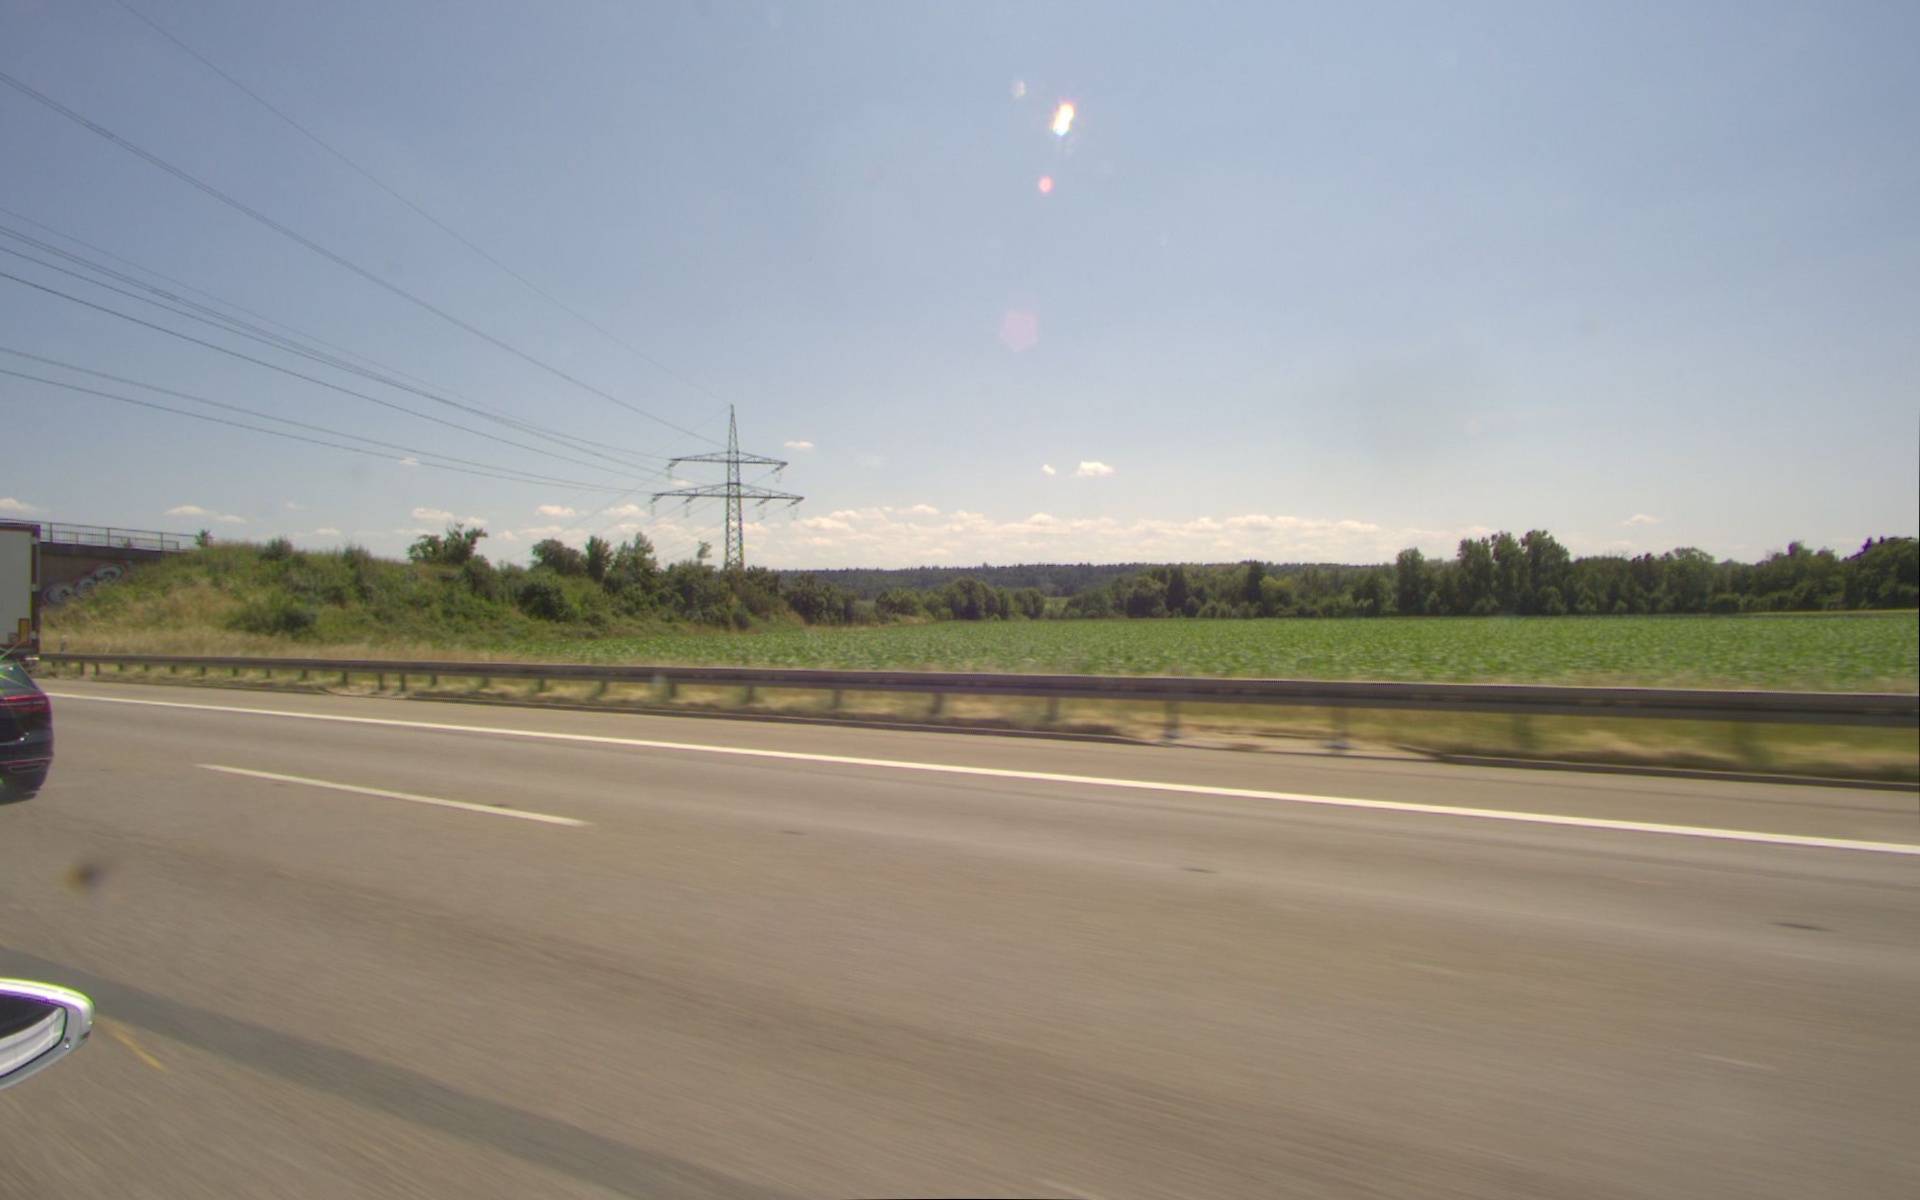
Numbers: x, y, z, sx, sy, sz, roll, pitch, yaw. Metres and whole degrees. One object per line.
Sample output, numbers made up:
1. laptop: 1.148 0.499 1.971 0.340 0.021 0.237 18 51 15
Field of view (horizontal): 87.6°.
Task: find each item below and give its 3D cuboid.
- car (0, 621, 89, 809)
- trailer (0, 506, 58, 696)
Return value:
1. car: -10.421 1.000 9.495 4.863 1.594 1.930 -1 -2 32
2. trailer: -27.373 0.101 25.624 13.403 4.252 2.938 -1 -2 33
